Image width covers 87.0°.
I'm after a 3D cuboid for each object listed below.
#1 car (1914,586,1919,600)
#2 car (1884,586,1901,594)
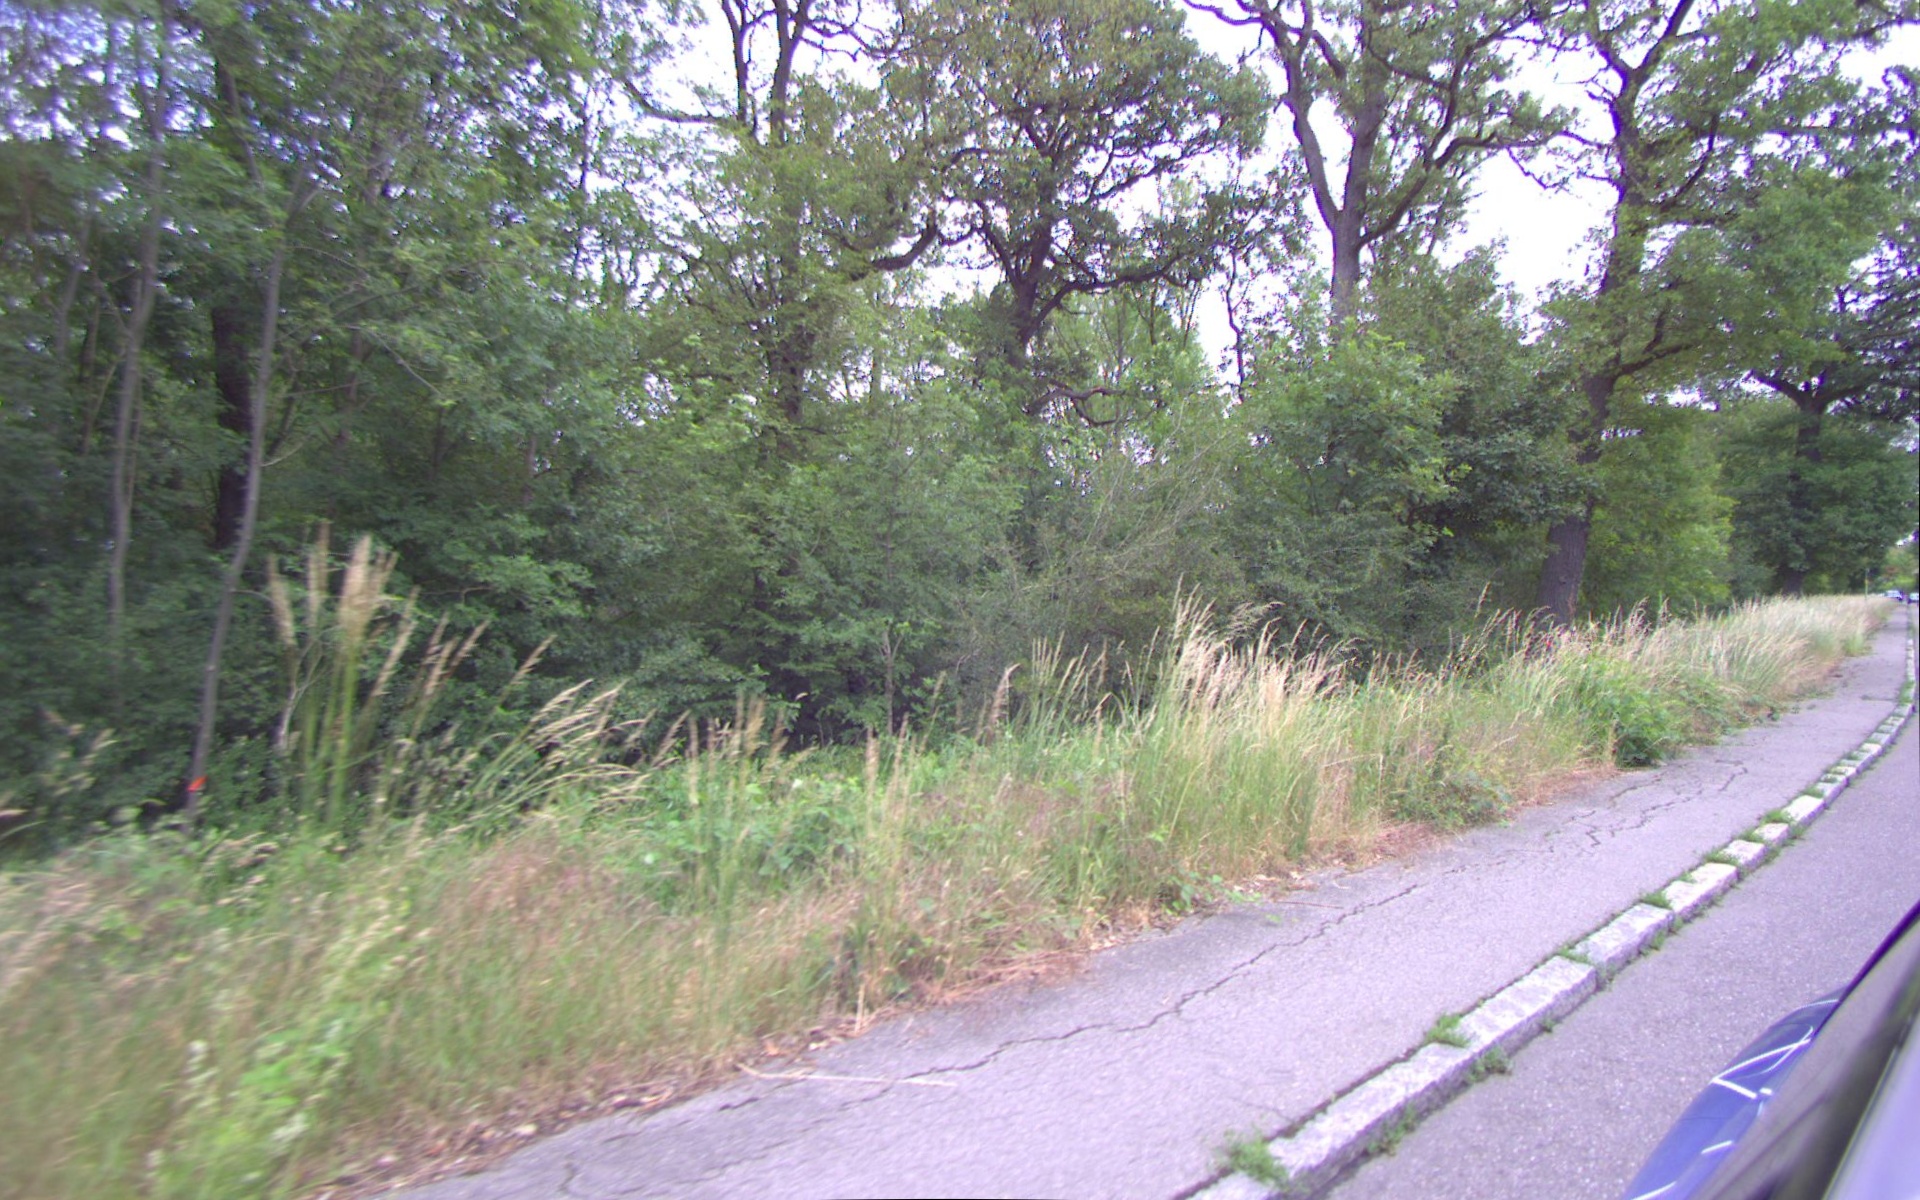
[{"bbox_3d":[125.945,-0.918,132.151,1.993,1.709,4.637,1,1,43],"label":"car"},{"bbox_3d":[167.468,-1.853,181.779,1.756,1.468,3.989,1,1,37],"label":"car"}]
